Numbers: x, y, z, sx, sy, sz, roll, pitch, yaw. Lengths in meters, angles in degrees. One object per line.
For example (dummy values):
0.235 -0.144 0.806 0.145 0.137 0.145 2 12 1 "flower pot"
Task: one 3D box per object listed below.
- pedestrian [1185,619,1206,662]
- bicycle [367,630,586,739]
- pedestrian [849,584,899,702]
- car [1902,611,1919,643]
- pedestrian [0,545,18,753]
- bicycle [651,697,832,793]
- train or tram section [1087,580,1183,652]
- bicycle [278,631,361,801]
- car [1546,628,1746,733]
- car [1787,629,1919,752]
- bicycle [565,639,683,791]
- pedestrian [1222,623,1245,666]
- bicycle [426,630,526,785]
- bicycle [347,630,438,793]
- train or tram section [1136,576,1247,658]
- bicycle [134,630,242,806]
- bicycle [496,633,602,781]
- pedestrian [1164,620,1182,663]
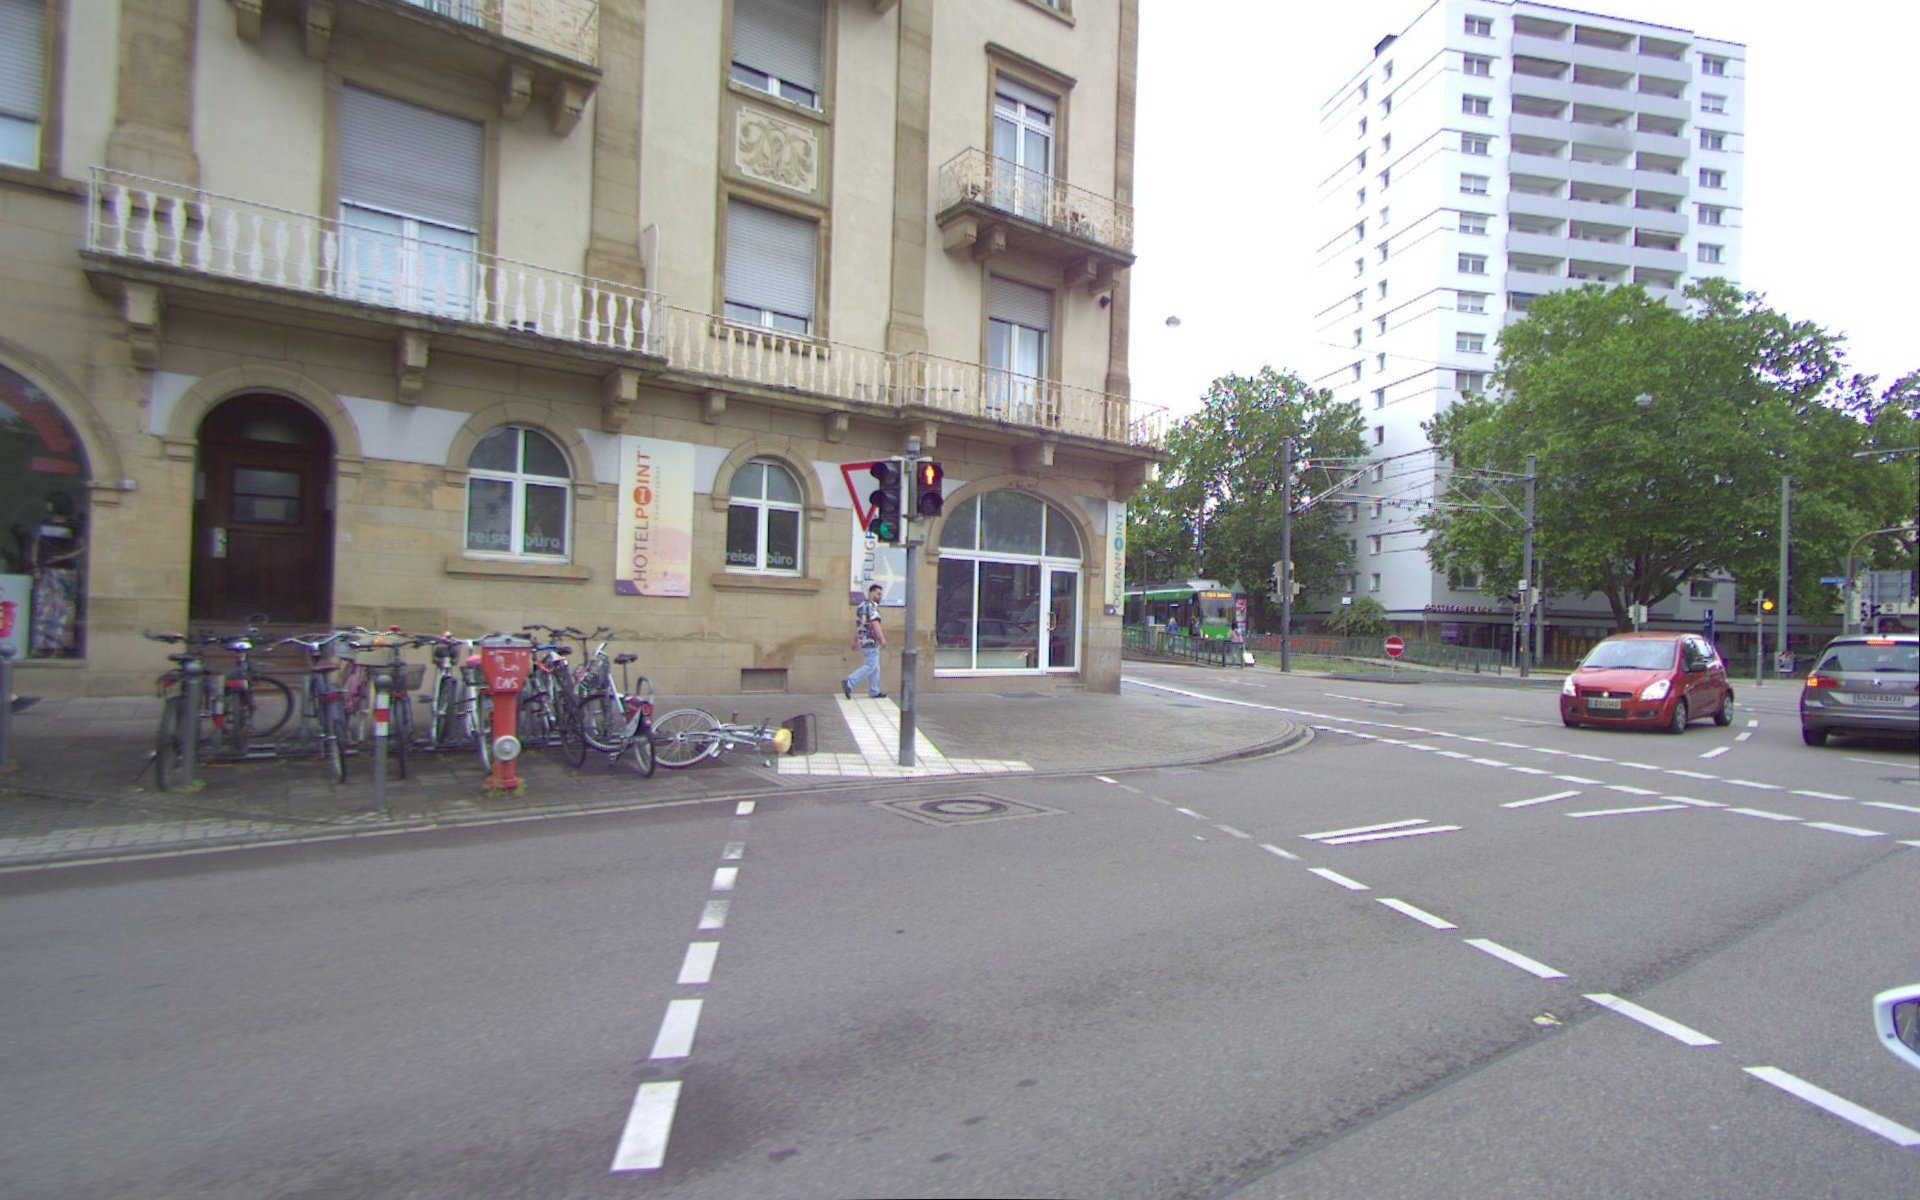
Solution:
10.345 1.781 44.136 0.578 1.889 0.732 2 -1 -11 "pedestrian"
-4.984 0.855 10.440 1.977 1.041 0.498 2 -1 -35 "bicycle"
-1.344 0.666 15.689 0.545 1.809 0.563 2 -1 -34 "pedestrian"
54.529 1.553 54.963 3.926 1.728 1.998 2 -1 27 "car"
-9.442 0.471 9.548 0.545 1.984 0.615 2 -1 -34 "pedestrian"
-2.130 1.339 9.600 1.019 0.451 1.872 1 5 -36 "bicycle"
9.996 0.990 58.377 2.639 3.810 8.283 2 -2 -11 "train or tram section"
-5.326 0.891 8.307 0.438 1.049 1.872 2 4 -36 "bicycle"
11.647 1.302 16.968 3.966 1.545 1.719 3 -2 -39 "car"
13.477 1.235 14.322 3.963 1.545 1.720 3 -2 -37 "car"
-3.140 0.999 9.275 0.438 1.049 1.872 2 4 -36 "bicycle"
10.606 1.728 38.979 0.578 1.624 0.732 2 -1 -11 "pedestrian"
-4.381 0.900 9.027 0.438 1.049 1.872 2 4 -36 "bicycle"
-4.903 0.895 8.629 0.438 1.049 1.872 2 4 -36 "bicycle"
11.507 0.889 50.758 2.639 3.810 7.247 2 -2 -11 "train or tram section"
-6.032 0.858 7.910 0.437 1.049 1.876 2 3 -31 "bicycle"
-3.891 0.943 9.424 0.438 1.049 1.872 2 4 -36 "bicycle"
9.583 1.871 45.244 0.605 1.889 0.480 2 -1 -12 "pedestrian"
